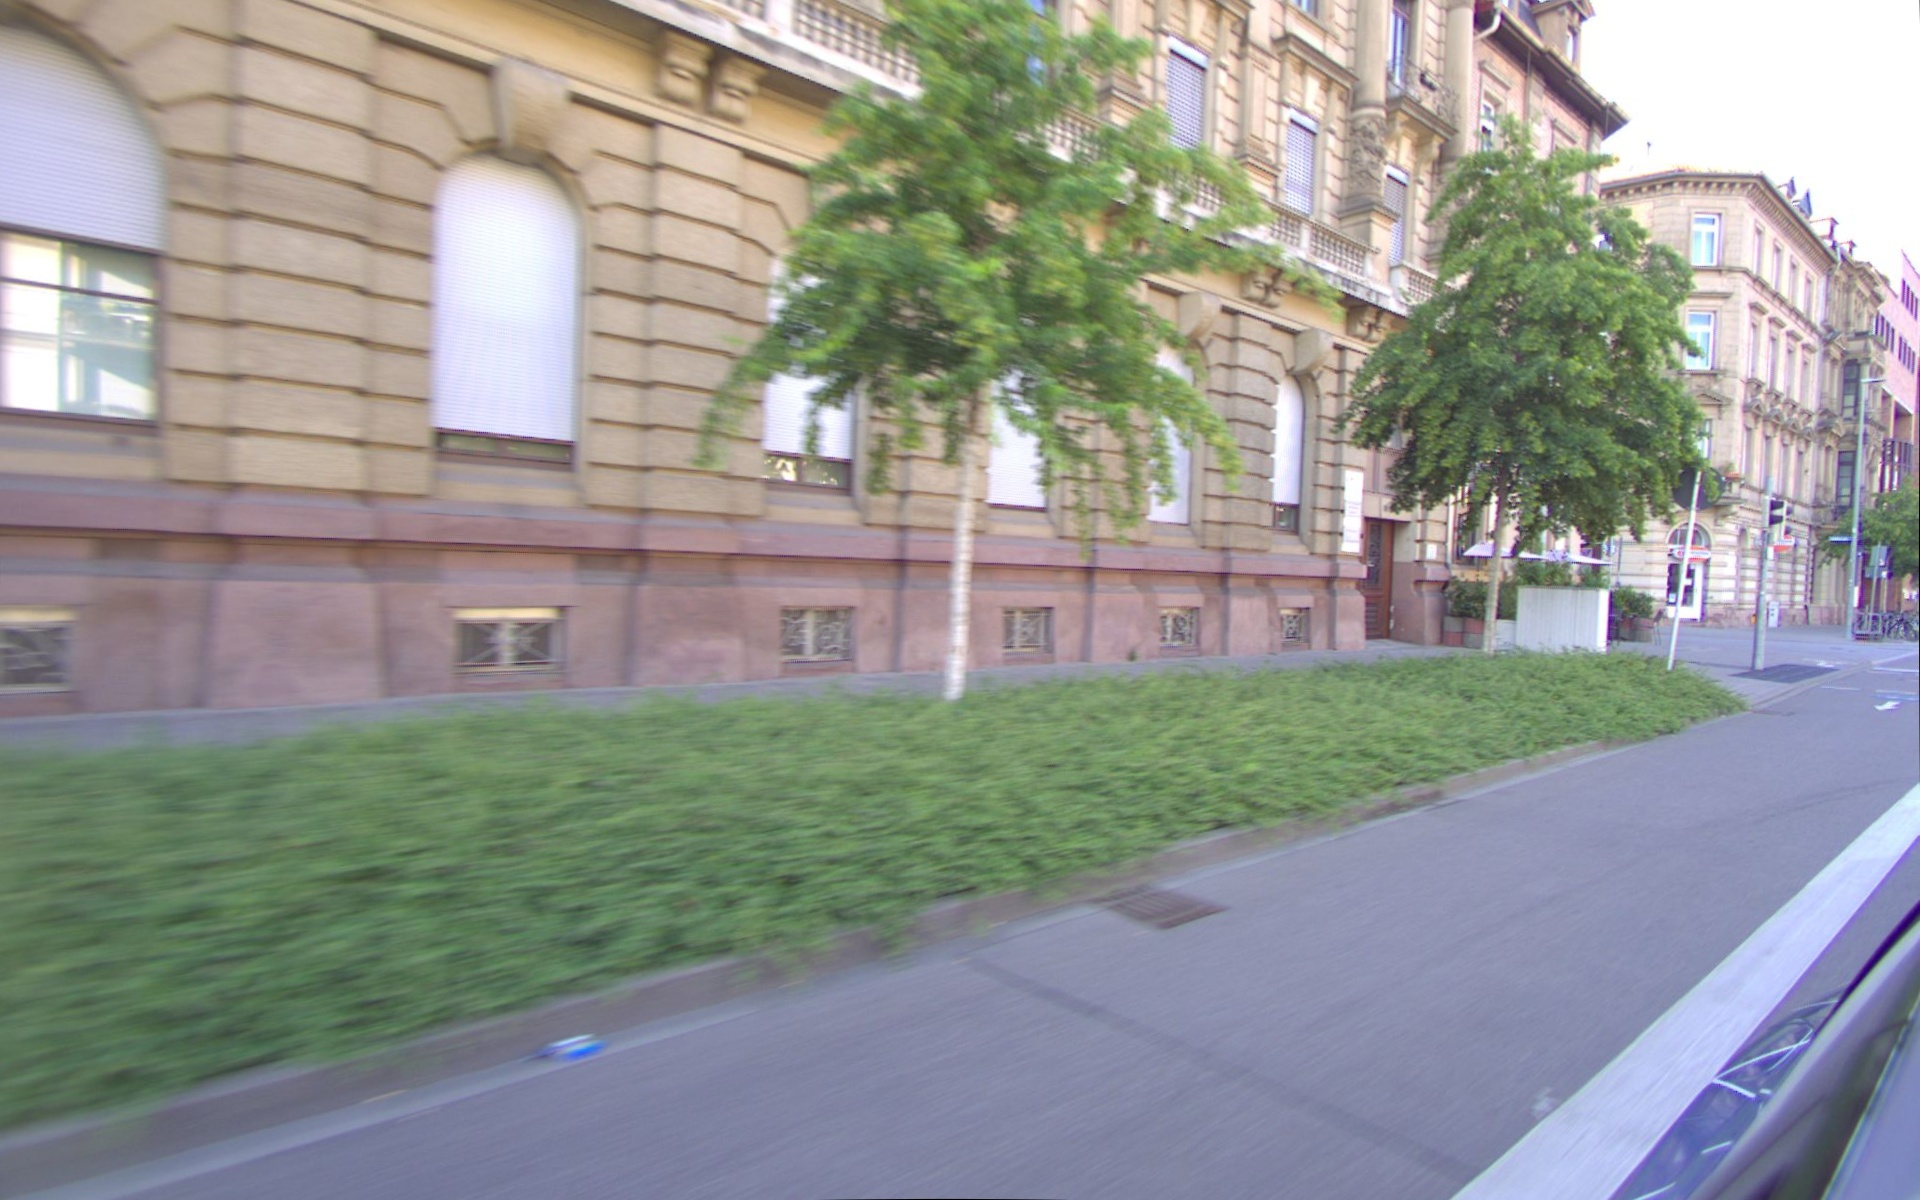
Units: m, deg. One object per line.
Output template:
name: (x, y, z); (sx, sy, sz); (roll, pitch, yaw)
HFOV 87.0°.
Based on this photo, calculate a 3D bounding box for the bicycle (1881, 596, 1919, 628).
bicycle: (35.483, 0.490, 37.551); (0.653, 1.077, 1.828); (1, 5, -45)

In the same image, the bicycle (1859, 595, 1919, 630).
bicycle: (34.171, 0.451, 37.025); (0.653, 1.077, 1.828); (1, 5, -45)

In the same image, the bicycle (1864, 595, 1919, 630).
bicycle: (33.348, 0.452, 35.884); (0.653, 1.077, 1.828); (1, 5, -45)

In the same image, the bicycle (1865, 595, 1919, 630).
bicycle: (32.392, 0.447, 34.768); (0.653, 1.077, 1.828); (1, 5, -45)
